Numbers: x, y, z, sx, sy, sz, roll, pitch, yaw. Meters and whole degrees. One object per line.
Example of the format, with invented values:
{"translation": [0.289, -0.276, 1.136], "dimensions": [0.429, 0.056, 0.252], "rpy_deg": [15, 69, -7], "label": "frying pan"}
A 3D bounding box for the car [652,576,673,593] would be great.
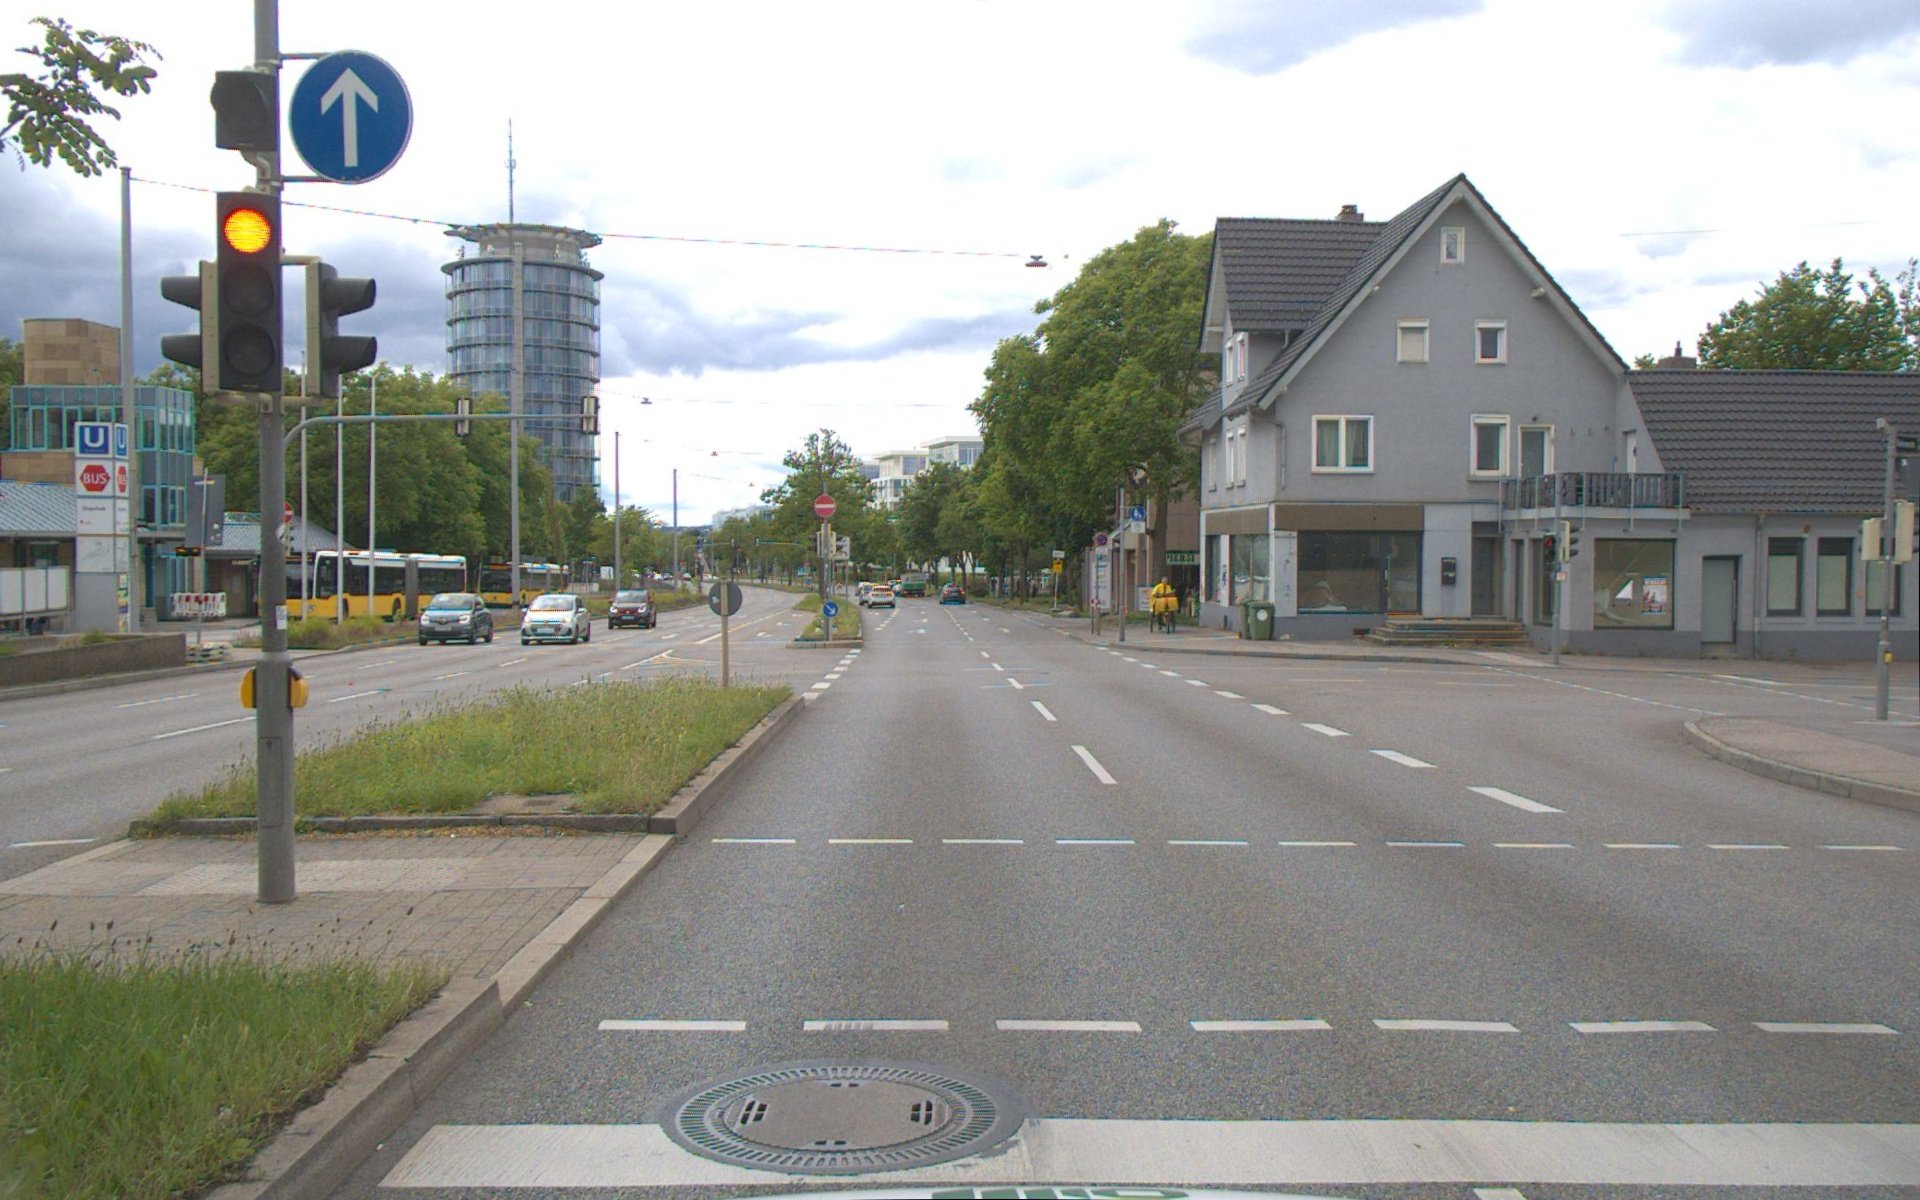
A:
{"translation": [-35.907, -1.856, 199.738], "dimensions": [1.925, 2.049, 3.999], "rpy_deg": [1, 0, -1], "label": "car"}

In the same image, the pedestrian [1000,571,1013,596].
{"translation": [3.800, -1.362, 135.919], "dimensions": [0.951, 2.049, 0.981], "rpy_deg": [1, -1, -2], "label": "pedestrian"}

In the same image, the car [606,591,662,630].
{"translation": [-13.326, 0.408, 67.779], "dimensions": [1.668, 1.518, 3.561], "rpy_deg": [-1, 0, -2], "label": "car"}

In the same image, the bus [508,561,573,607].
{"translation": [-31.146, -1.148, 123.007], "dimensions": [3.081, 3.281, 7.762], "rpy_deg": [0, 0, -2], "label": "bus"}

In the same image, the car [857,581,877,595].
{"translation": [-9.720, -1.282, 173.020], "dimensions": [1.929, 1.444, 4.017], "rpy_deg": [0, 0, -6], "label": "car"}

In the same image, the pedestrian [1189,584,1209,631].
{"translation": [9.539, 0.302, 66.044], "dimensions": [0.690, 1.811, 0.870], "rpy_deg": [3, -3, 7], "label": "pedestrian"}

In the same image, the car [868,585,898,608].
{"translation": [-5.183, -0.254, 111.086], "dimensions": [1.953, 1.503, 4.254], "rpy_deg": [0, 0, -3], "label": "car"}

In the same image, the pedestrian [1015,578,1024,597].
{"translation": [4.934, -1.046, 137.634], "dimensions": [0.638, 1.597, 0.669], "rpy_deg": [0, 0, -9], "label": "pedestrian"}

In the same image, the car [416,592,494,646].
{"translation": [-15.472, 0.560, 50.810], "dimensions": [1.652, 1.606, 3.344], "rpy_deg": [0, 0, -6], "label": "car"}

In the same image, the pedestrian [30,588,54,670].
{"translation": [-18.409, 0.578, 33.162], "dimensions": [0.414, 1.619, 0.353], "rpy_deg": [0, 0, -30], "label": "pedestrian"}

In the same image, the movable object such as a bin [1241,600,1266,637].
{"translation": [7.968, 0.495, 44.949], "dimensions": [0.518, 0.997, 0.736], "rpy_deg": [0, 0, -1], "label": "movable object such as a bin"}

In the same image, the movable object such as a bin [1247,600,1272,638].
{"translation": [7.999, 0.494, 44.159], "dimensions": [0.518, 0.997, 0.736], "rpy_deg": [0, 0, -1], "label": "movable object such as a bin"}

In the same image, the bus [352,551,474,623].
{"translation": [-26.545, -0.622, 80.714], "dimensions": [2.927, 3.327, 7.879], "rpy_deg": [-1, 0, 3], "label": "bus"}

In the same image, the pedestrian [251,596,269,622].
{"translation": [-30.063, 0.391, 71.049], "dimensions": [0.512, 1.076, 0.587], "rpy_deg": [1, 0, -1], "label": "pedestrian"}

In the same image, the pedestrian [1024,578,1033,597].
{"translation": [5.724, -1.063, 137.566], "dimensions": [0.638, 1.597, 0.669], "rpy_deg": [0, 0, -9], "label": "pedestrian"}

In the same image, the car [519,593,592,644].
{"translation": [-12.364, 0.546, 50.722], "dimensions": [1.651, 1.488, 3.552], "rpy_deg": [0, 0, -5], "label": "car"}

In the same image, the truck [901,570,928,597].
{"translation": [-4.348, -1.554, 156.423], "dimensions": [2.207, 2.459, 4.927], "rpy_deg": [0, 0, -5], "label": "truck"}

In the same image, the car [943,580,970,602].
{"translation": [-0.296, -0.646, 122.863], "dimensions": [1.851, 1.521, 4.097], "rpy_deg": [-2, -1, -2], "label": "car"}

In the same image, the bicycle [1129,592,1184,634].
{"translation": [5.934, 0.376, 50.135], "dimensions": [1.054, 1.239, 2.434], "rpy_deg": [-1, 0, -8], "label": "bicycle"}

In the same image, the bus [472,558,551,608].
{"translation": [-30.784, -1.131, 114.008], "dimensions": [3.082, 3.281, 10.279], "rpy_deg": [0, 0, -3], "label": "bus"}

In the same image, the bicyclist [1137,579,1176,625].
{"translation": [5.938, 0.065, 50.046], "dimensions": [1.054, 1.380, 0.627], "rpy_deg": [-1, 0, -9], "label": "bicyclist"}

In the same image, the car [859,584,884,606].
{"translation": [-6.499, -0.358, 122.004], "dimensions": [1.786, 1.567, 4.112], "rpy_deg": [0, 0, -3], "label": "car"}

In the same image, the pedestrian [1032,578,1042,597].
{"translation": [6.399, -1.049, 137.597], "dimensions": [0.638, 1.597, 0.669], "rpy_deg": [0, 0, -9], "label": "pedestrian"}

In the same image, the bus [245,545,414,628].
{"translation": [-27.082, -0.568, 71.690], "dimensions": [2.927, 3.307, 10.174], "rpy_deg": [-1, 0, 3], "label": "bus"}

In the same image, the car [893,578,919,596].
{"translation": [-5.402, -1.263, 165.000], "dimensions": [2.207, 1.787, 4.927], "rpy_deg": [0, 0, -5], "label": "car"}
